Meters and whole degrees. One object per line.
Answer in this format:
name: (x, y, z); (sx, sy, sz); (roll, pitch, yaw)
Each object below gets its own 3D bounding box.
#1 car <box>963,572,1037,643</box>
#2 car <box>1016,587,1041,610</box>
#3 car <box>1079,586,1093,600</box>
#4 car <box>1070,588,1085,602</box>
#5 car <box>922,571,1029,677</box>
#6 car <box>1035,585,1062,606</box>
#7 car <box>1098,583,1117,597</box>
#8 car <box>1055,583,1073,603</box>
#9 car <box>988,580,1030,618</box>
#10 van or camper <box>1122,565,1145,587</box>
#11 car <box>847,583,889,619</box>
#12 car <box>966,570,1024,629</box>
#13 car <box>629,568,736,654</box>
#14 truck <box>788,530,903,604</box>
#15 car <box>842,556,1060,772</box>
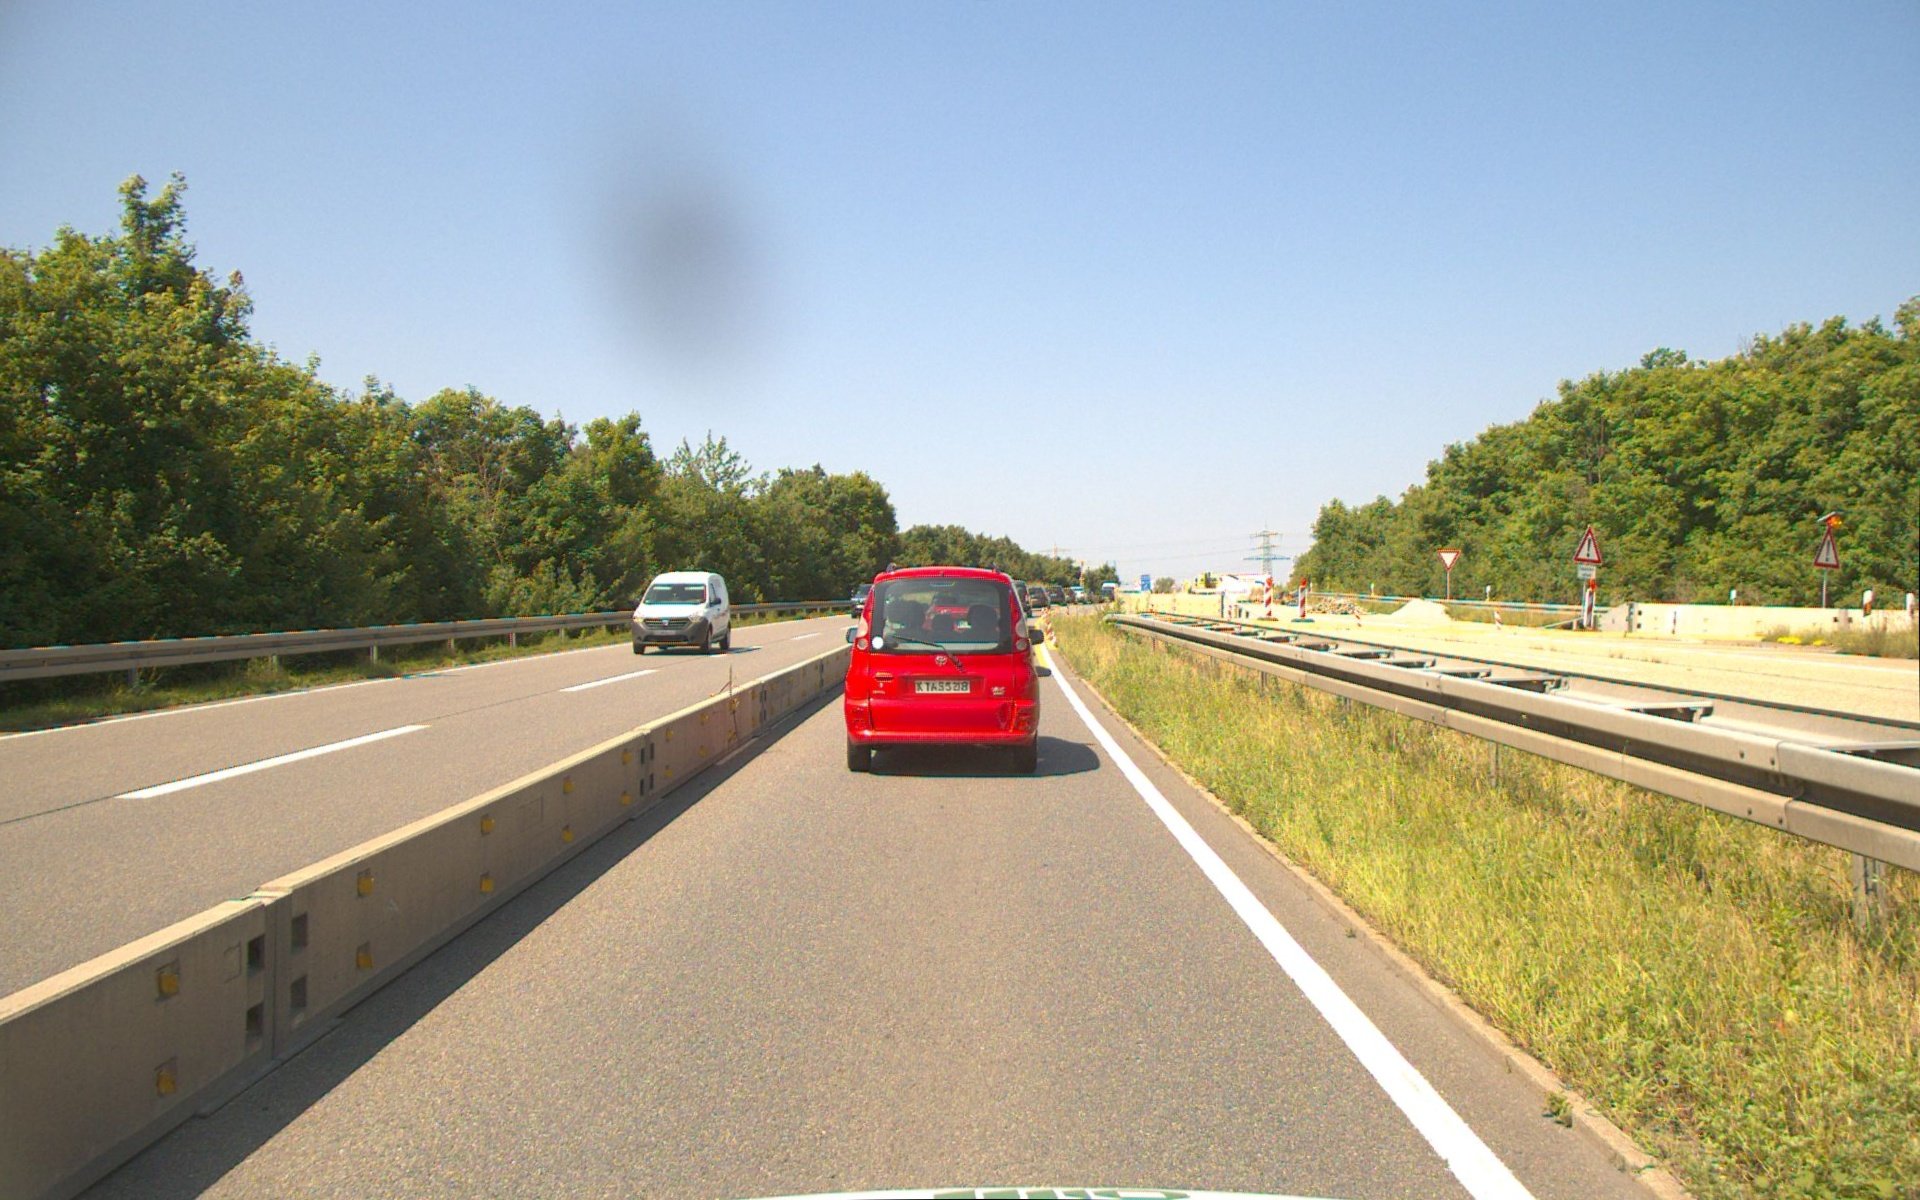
car: (1.107, 0.193, 45.792); (1.952, 1.870, 4.001); (0, 0, 1)
car: (4.332, -0.108, 104.635); (1.471, 1.476, 3.326); (0, 0, 1)
car: (13.391, -0.710, 175.729); (1.470, 1.476, 3.171); (0, 0, 4)
car: (11.287, -0.504, 159.372); (1.391, 1.321, 2.880); (0, 0, 4)
car: (0.306, 0.387, 29.681); (1.792, 1.752, 4.001); (0, 0, 1)
car: (6.982, -0.381, 129.883); (1.951, 1.612, 4.002); (0, 0, 5)
car: (17.705, -1.196, 198.558); (1.952, 1.579, 4.001); (-1, 0, 1)
car: (9.041, -0.613, 143.922); (1.471, 1.767, 3.171); (-1, 0, 2)
car: (2.365, -0.060, 80.530); (1.952, 1.780, 4.000); (0, 0, 0)
van or camper: (21.766, -2.989, 207.782); (2.280, 2.754, 4.592); (0, 0, -1)
car: (-4.385, 0.026, 79.401); (1.820, 1.667, 4.383); (-1, 0, -1)
car: (1.244, -0.026, 60.085); (1.953, 2.038, 4.000); (1, 0, -1)
car: (-6.238, 0.216, 37.615); (1.720, 1.795, 4.284); (-1, 0, -1)
truck: (-8.761, -2.547, 127.516); (8.440, 5.469, 3.390); (-1, 0, 2)
car: (-0.087, 0.498, 15.072); (1.716, 1.702, 4.000); (0, 0, 0)
